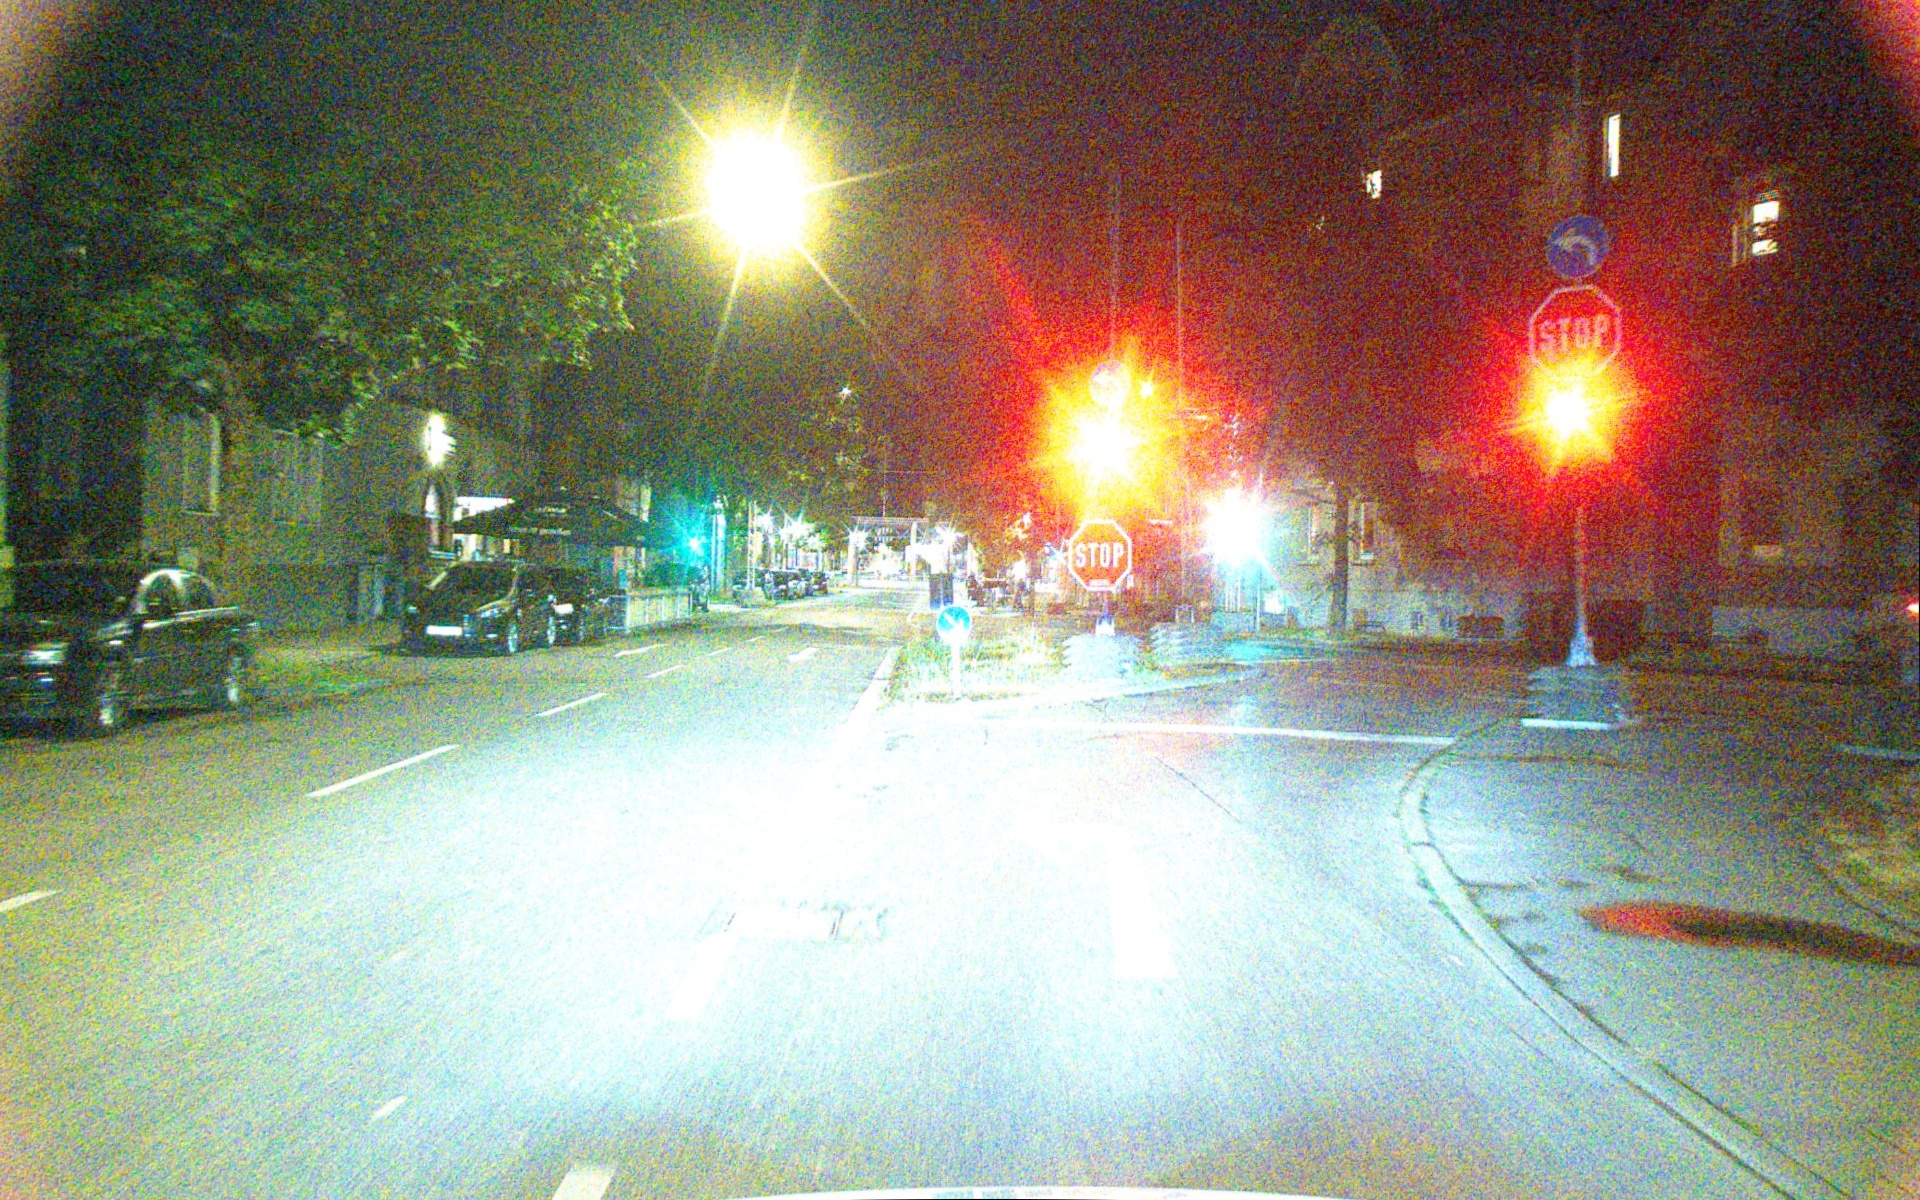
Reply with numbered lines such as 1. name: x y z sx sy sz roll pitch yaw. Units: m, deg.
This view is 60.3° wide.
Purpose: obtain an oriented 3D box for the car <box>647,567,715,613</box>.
1. car: -9.168 -0.354 54.519 1.618 1.456 4.000 0 1 -1

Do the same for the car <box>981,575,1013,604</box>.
1. car: 1.905 -0.579 86.694 1.617 1.456 4.001 0 1 0

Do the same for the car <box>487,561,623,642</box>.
1. car: -8.061 0.000 33.283 1.767 1.507 4.322 1 1 -2

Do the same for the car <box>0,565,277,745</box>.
1. car: -7.850 0.396 15.131 1.590 1.407 4.449 0 1 -4

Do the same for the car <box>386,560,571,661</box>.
1. car: -8.105 0.113 28.288 1.861 1.497 4.452 2 1 -1

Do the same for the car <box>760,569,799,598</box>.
1. car: -9.127 -0.858 83.951 1.618 1.456 4.000 0 1 -1

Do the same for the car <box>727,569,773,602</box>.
1. car: -9.583 -0.683 75.721 1.618 1.456 4.000 0 1 -1

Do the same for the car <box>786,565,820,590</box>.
1. car: -9.168 -1.322 96.845 1.618 1.456 4.000 0 1 -1

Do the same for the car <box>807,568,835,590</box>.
1. car: -9.293 -1.425 110.580 1.618 1.456 4.000 0 1 -1

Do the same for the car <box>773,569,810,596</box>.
1. car: -9.141 -0.954 89.962 1.618 1.456 4.000 0 1 -1
